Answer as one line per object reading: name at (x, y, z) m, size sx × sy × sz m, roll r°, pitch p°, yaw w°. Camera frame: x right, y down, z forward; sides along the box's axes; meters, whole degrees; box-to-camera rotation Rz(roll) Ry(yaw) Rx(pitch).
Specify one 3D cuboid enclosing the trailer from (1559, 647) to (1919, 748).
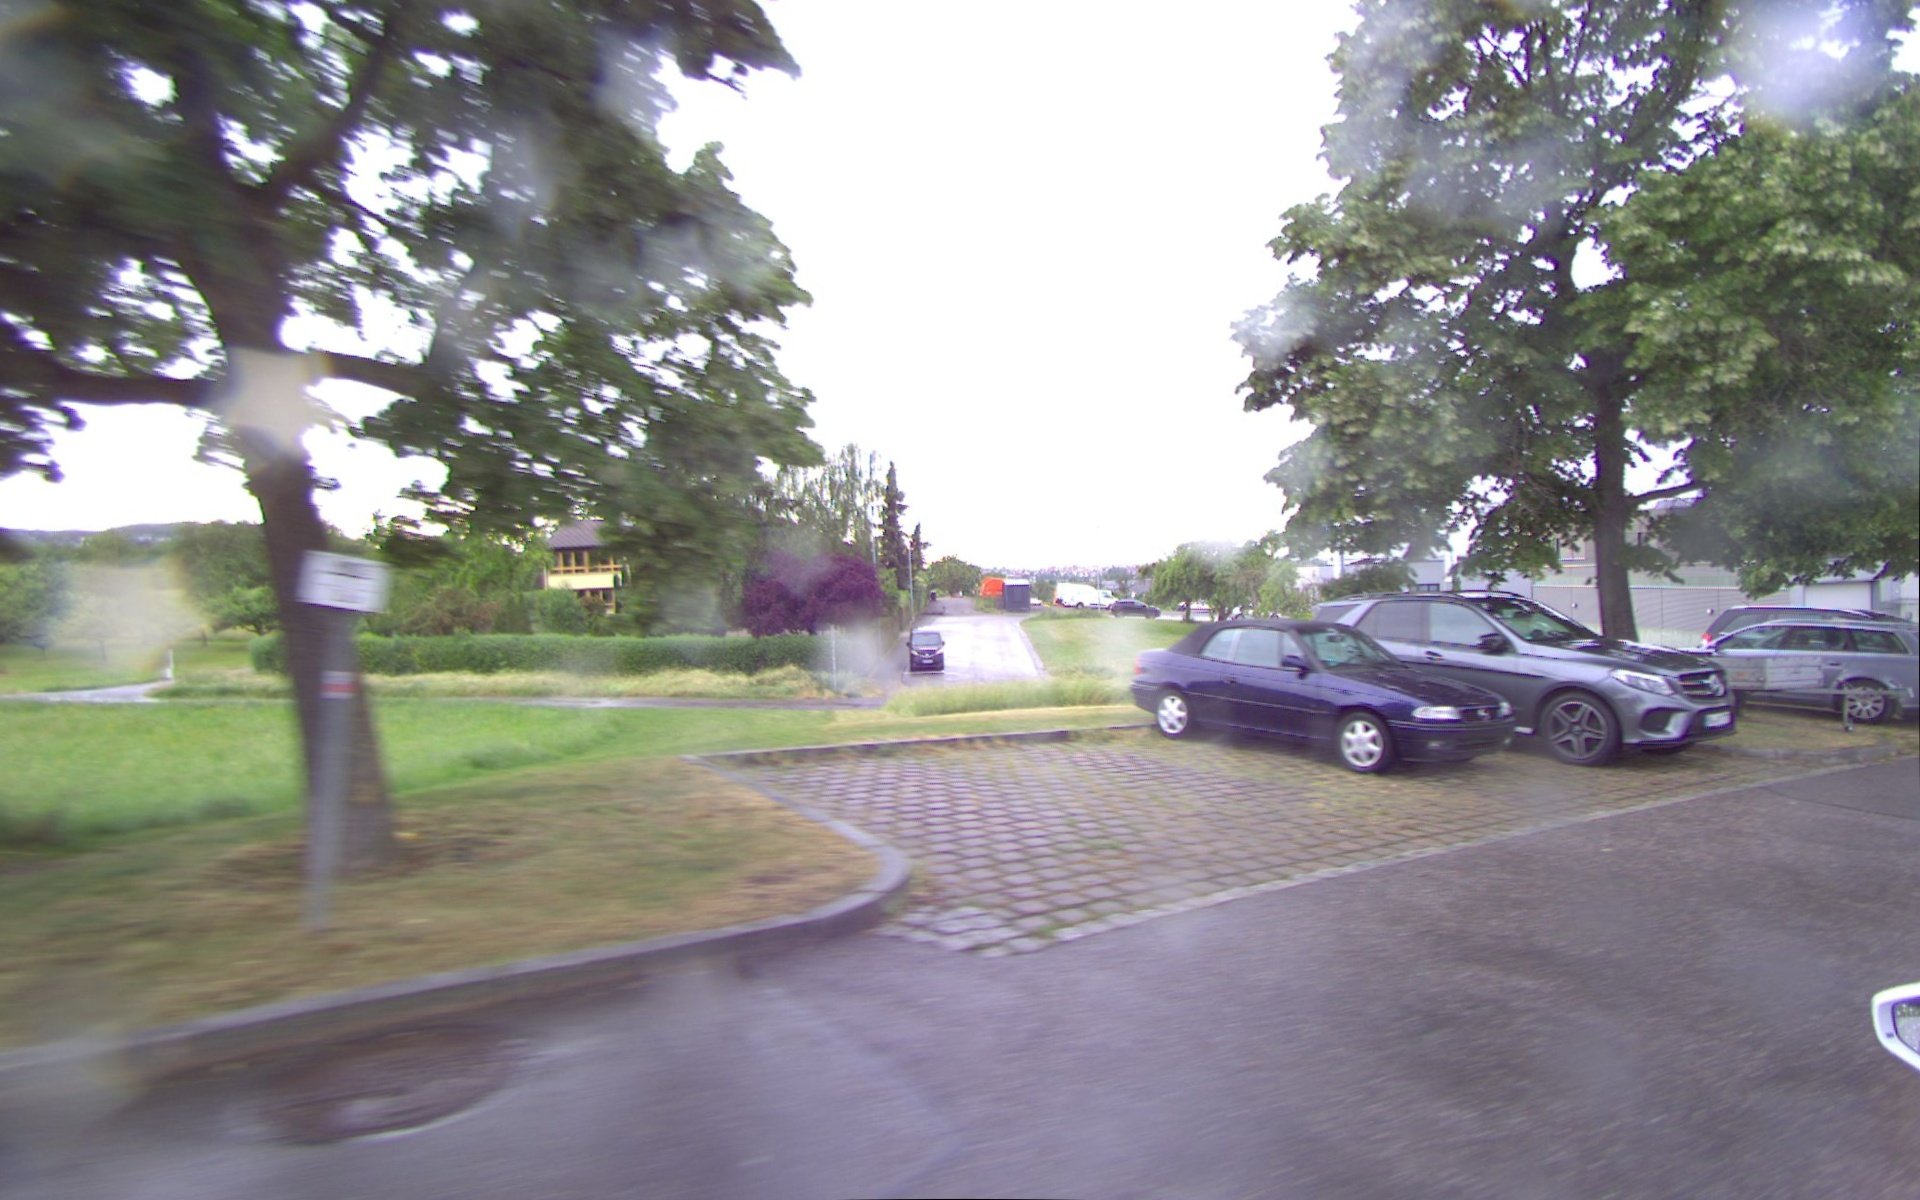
trailer at (10.956, 1.258, 14.118) m, size 1.975 × 0.974 × 3.925 m, roll 0°, pitch 0°, yaw -28°

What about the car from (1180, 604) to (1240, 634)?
car at (30.226, 2.360, 121.390) m, size 6.596 × 3.470 × 2.545 m, roll -1°, pitch -2°, yaw 2°

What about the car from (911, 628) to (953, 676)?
car at (-1.464, 2.576, 50.095) m, size 1.893 × 2.249 × 4.501 m, roll 0°, pitch -2°, yaw -4°

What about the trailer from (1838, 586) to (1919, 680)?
trailer at (21.677, 0.714, 21.380) m, size 1.750 × 2.010 × 4.199 m, roll 1°, pitch -1°, yaw -26°

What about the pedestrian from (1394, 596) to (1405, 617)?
pedestrian at (42.331, 0.632, 96.771) m, size 0.847 × 2.031 × 0.660 m, roll 0°, pitch 0°, yaw 4°

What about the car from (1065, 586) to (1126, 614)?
car at (13.600, 0.019, 101.004) m, size 5.701 × 2.738 × 1.998 m, roll 1°, pitch 1°, yaw -5°

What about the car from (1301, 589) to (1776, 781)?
car at (6.325, 0.823, 11.547) m, size 2.020 × 1.744 × 4.348 m, roll 1°, pitch -1°, yaw -29°

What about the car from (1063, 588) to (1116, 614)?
car at (13.789, 0.148, 106.850) m, size 5.327 × 2.604 × 1.999 m, roll 1°, pitch -1°, yaw -4°

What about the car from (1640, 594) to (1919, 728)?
car at (13.225, 0.838, 15.488) m, size 1.998 × 1.745 × 4.062 m, roll 1°, pitch 1°, yaw -24°

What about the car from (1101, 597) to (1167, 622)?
car at (14.940, 0.853, 86.603) m, size 5.314 × 2.000 × 2.292 m, roll 1°, pitch -2°, yaw 1°

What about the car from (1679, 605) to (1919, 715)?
car at (15.236, 0.974, 17.070) m, size 1.782 × 1.611 × 4.602 m, roll 1°, pitch 1°, yaw -25°

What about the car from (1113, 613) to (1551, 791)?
car at (3.723, 0.912, 10.783) m, size 1.755 × 1.450 × 4.187 m, roll 1°, pitch 0°, yaw -33°

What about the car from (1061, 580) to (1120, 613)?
car at (14.162, -0.321, 109.515) m, size 6.175 × 3.475 × 2.001 m, roll 1°, pitch -1°, yaw 2°

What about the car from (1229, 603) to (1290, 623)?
car at (25.621, 1.127, 85.967) m, size 4.527 × 1.670 × 2.292 m, roll -1°, pitch -2°, yaw 1°
